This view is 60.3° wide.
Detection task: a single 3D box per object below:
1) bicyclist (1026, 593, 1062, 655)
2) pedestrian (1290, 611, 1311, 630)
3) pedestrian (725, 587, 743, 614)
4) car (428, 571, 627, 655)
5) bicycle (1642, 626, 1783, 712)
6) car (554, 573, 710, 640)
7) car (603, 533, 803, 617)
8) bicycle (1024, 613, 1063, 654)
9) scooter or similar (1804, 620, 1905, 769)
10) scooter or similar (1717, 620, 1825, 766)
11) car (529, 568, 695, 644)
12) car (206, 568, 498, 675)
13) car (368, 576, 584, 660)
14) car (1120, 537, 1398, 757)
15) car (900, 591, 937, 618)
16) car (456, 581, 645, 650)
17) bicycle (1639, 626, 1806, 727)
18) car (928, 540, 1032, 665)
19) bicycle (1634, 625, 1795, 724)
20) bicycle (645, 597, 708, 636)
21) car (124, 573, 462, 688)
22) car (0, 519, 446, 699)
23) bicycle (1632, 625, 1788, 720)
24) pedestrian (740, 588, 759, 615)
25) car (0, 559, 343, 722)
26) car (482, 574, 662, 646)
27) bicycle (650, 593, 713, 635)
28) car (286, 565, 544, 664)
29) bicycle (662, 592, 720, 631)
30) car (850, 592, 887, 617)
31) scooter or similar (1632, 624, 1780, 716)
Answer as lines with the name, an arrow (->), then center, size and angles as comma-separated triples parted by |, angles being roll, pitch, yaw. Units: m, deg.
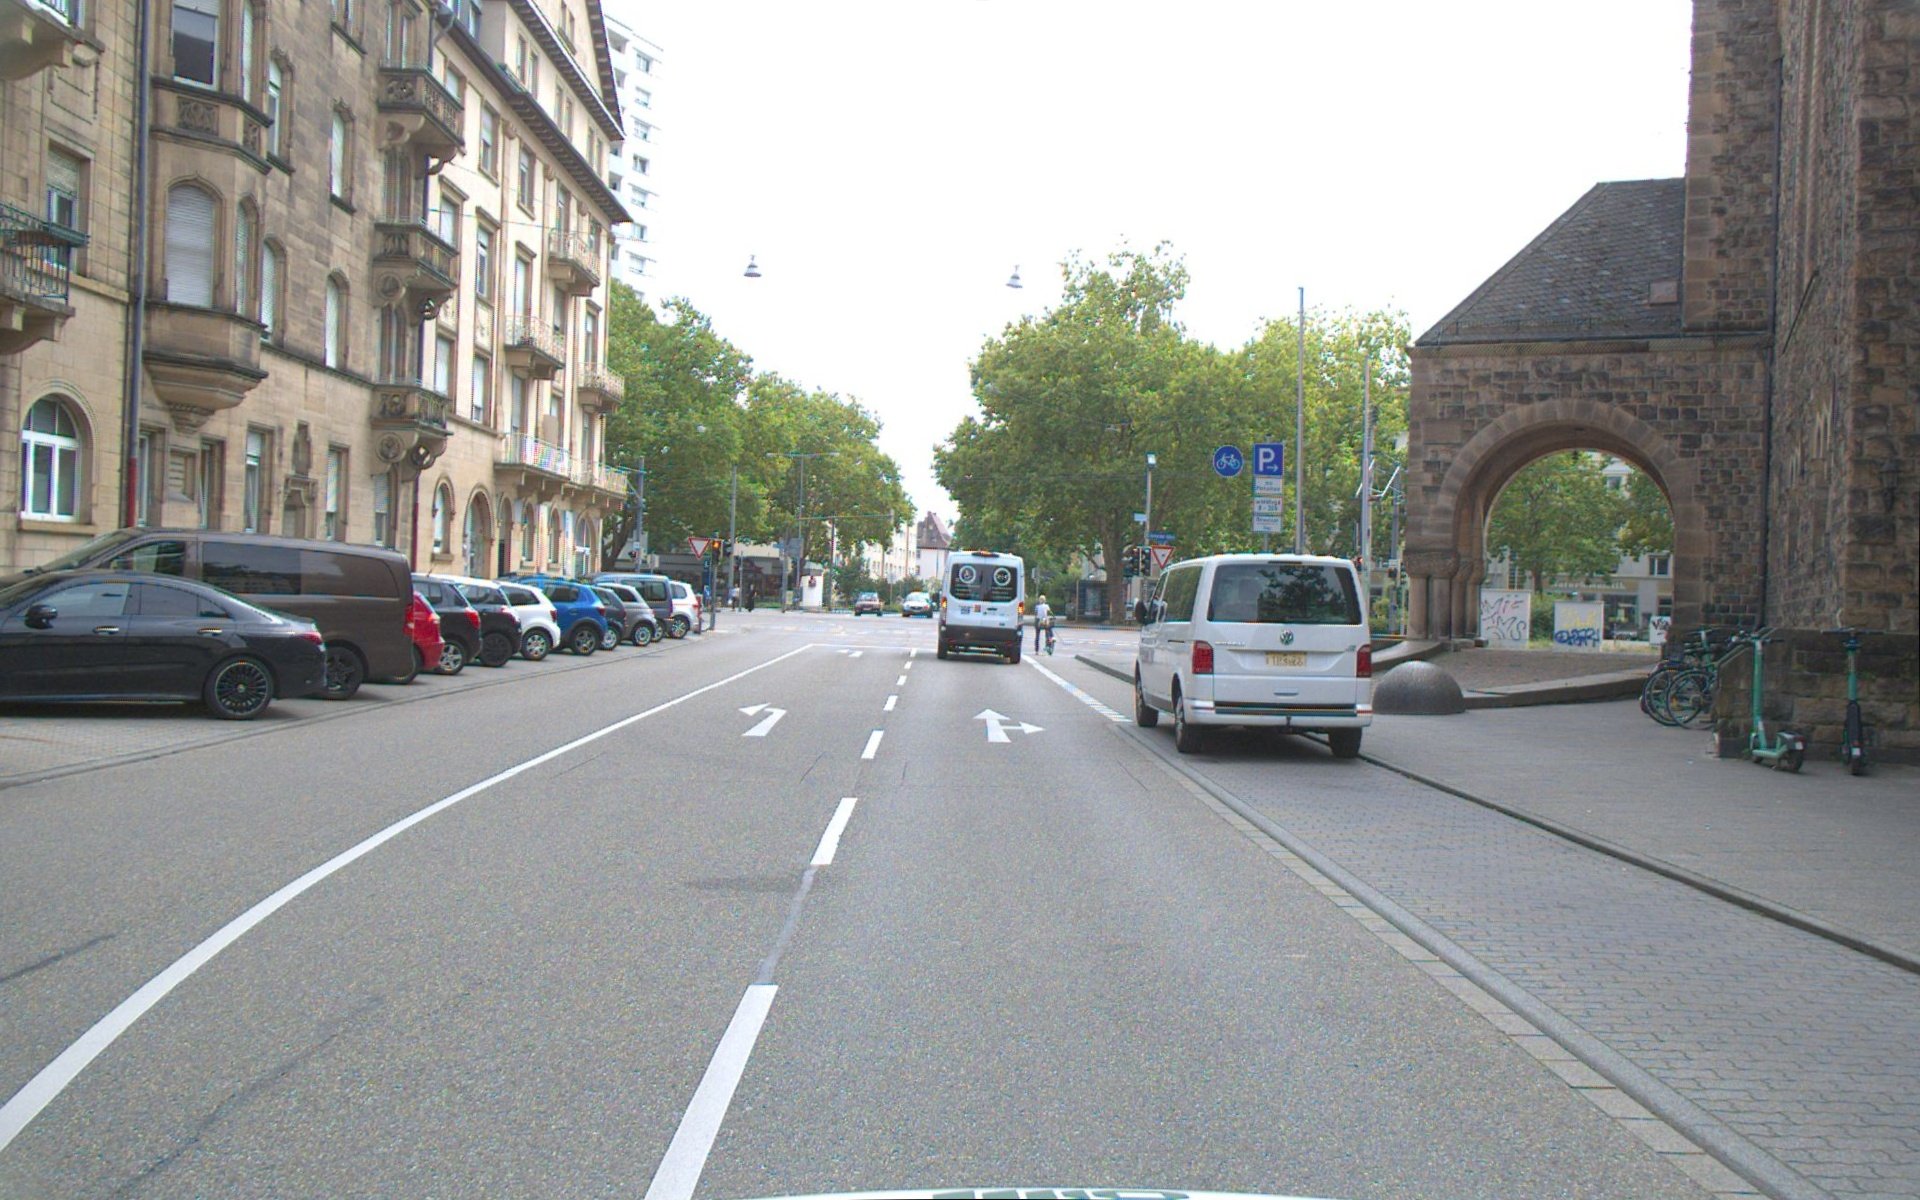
bicyclist -> 2.393, 0.676, 47.206 | 0.886, 1.713, 0.756 | 2, 0, -4
pedestrian -> 21.669, 1.305, 105.264 | 1.068, 1.258, 1.441 | 0, -1, 4
pedestrian -> -13.322, 0.027, 97.579 | 0.790, 1.600, 0.724 | 2, 0, 14
car -> -9.238, 0.281, 35.407 | 3.738, 1.680, 1.702 | 2, 0, -37
bicycle -> 10.569, 0.962, 23.275 | 1.739, 1.131, 0.546 | 1, 0, 18
car -> -9.334, 0.195, 47.201 | 3.974, 1.804, 1.771 | 2, 0, -40
car -> -13.110, -1.278, 84.175 | 9.688, 3.984, 3.453 | 2, 0, 24
bicycle -> 2.375, 0.946, 47.204 | 0.885, 1.094, 1.969 | 2, 0, -3
scooter or similar -> 7.961, 0.808, 14.770 | 0.533, 1.228, 1.481 | 1, 0, 19
scooter or similar -> 7.358, 0.813, 15.056 | 0.532, 1.228, 1.444 | 1, 0, 12
car -> -9.289, 0.166, 44.284 | 3.974, 1.911, 1.771 | 2, 0, -40
car -> -9.369, 0.347, 25.615 | 3.952, 1.529, 1.611 | 2, 0, -36
car -> -9.320, 0.365, 31.942 | 3.646, 1.507, 1.719 | 2, 0, -37
car -> 3.074, 0.414, 18.178 | 1.974, 2.064, 5.122 | 0, 1, -2
car -> -2.557, 0.286, 103.596 | 1.696, 1.620, 4.003 | 1, 0, 7
car -> -9.465, 0.368, 38.342 | 3.861, 1.469, 1.813 | 2, 0, -37
bicycle -> 9.110, 0.900, 19.819 | 1.739, 1.131, 0.546 | 1, 0, 18
car -> 0.414, 0.022, 40.151 | 2.138, 2.693, 4.627 | 4, 1, -2
bicycle -> 9.299, 0.904, 20.442 | 1.732, 1.131, 0.546 | 1, 0, 18
bicycle -> -8.738, 0.499, 50.985 | 1.771, 1.140, 0.594 | 1, 0, 6
car -> -9.188, 0.424, 22.957 | 3.977, 1.434, 1.769 | 2, 0, -42
car -> -9.168, 0.136, 20.062 | 5.210, 1.943, 2.095 | 2, 0, -35
bicycle -> 9.511, 0.908, 21.022 | 1.739, 1.131, 0.546 | 1, 0, 18
pedestrian -> -12.407, 0.079, 97.464 | 0.910, 1.541, 0.724 | 2, 0, 14
car -> -8.977, 0.383, 16.859 | 4.627, 1.433, 1.873 | 5, 0, -40
car -> -9.629, 0.261, 41.174 | 3.974, 1.680, 1.771 | 2, 0, -40
bicycle -> -8.689, 0.448, 51.657 | 1.772, 1.139, 0.594 | 5, 0, 3
car -> -9.523, 0.262, 28.967 | 3.962, 1.592, 1.776 | 2, 0, -33
bicycle -> -8.919, 0.378, 54.820 | 1.837, 1.187, 0.498 | 4, -1, 20
car -> -5.773, 0.291, 104.444 | 1.586, 1.502, 4.003 | 1, 0, 7
scooter or similar -> 9.960, 0.920, 22.134 | 1.739, 1.160, 0.546 | 1, 0, 18
